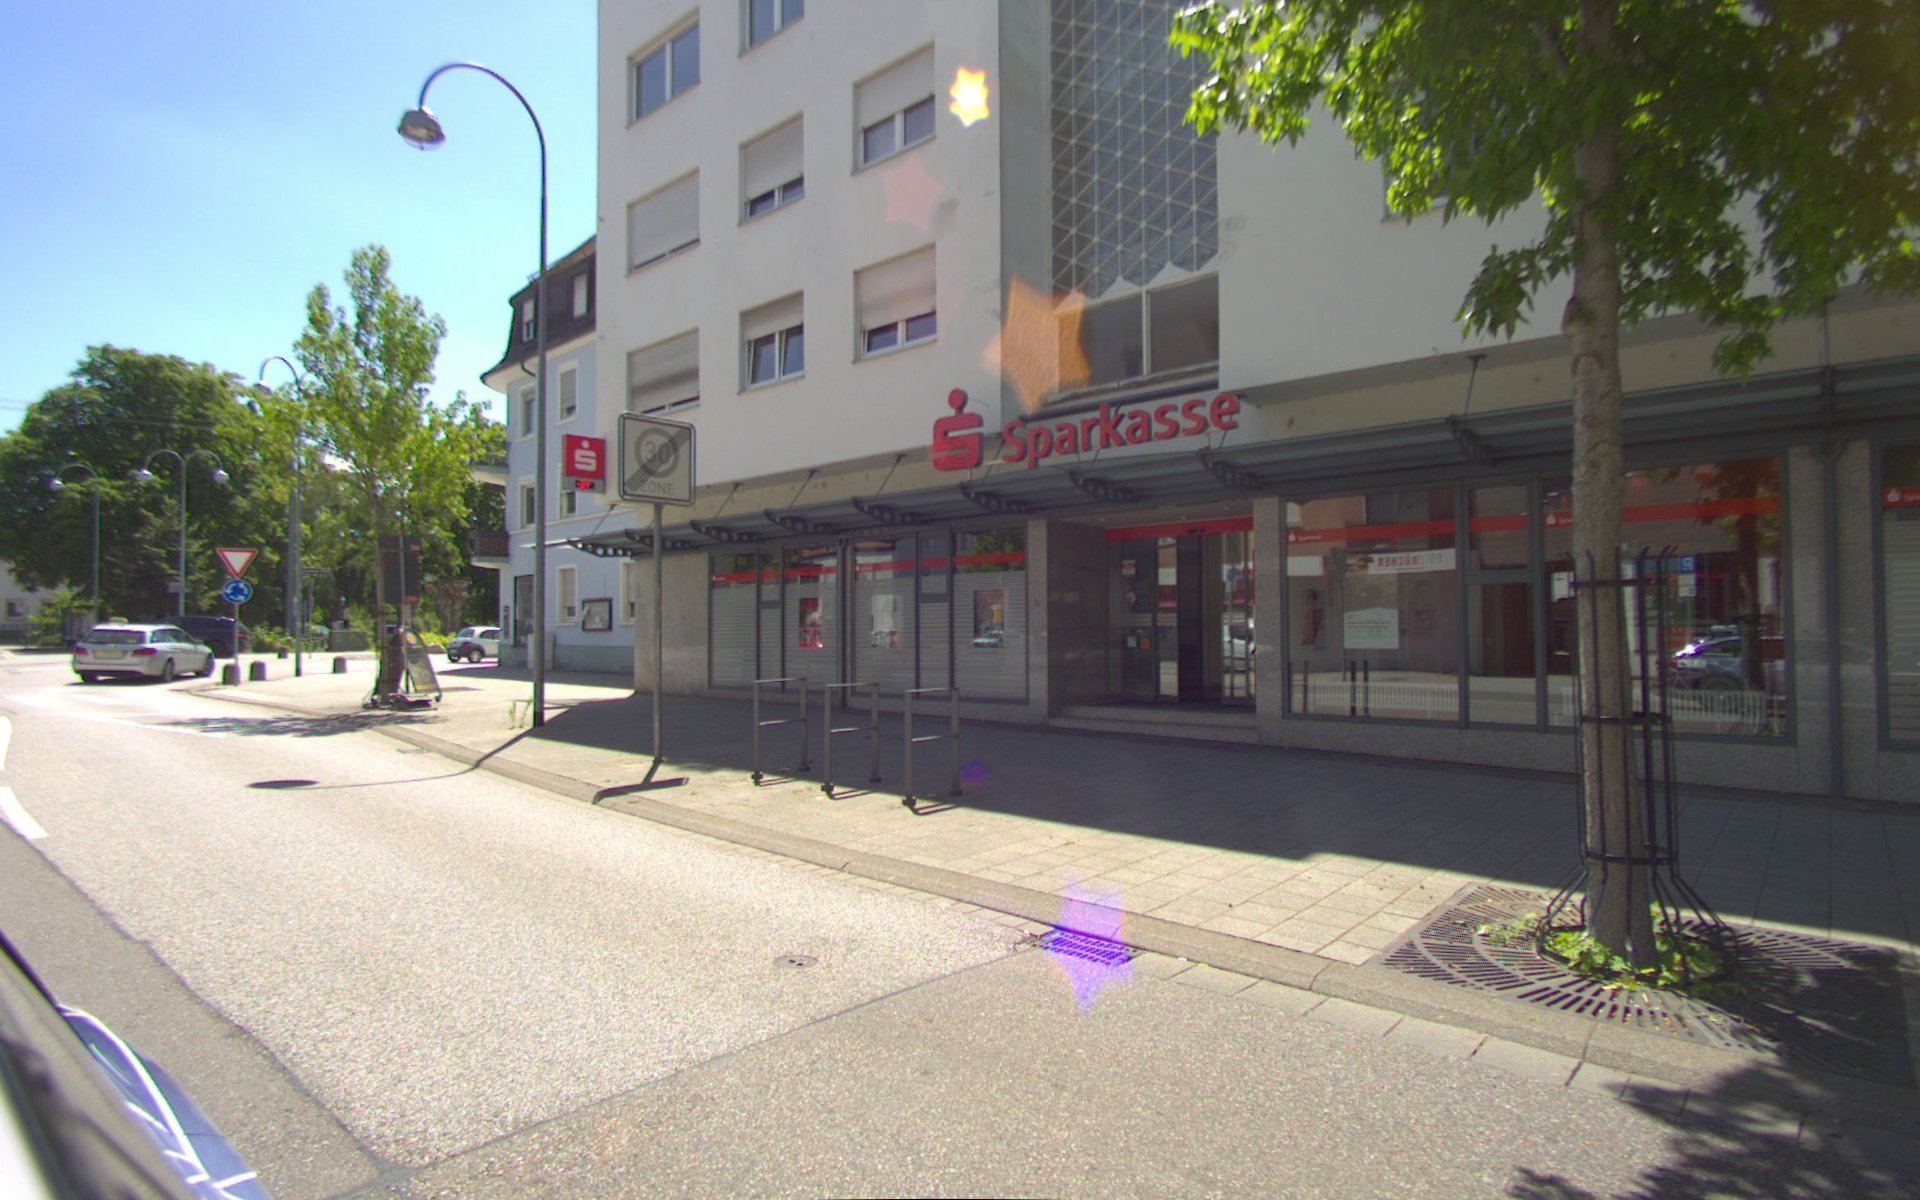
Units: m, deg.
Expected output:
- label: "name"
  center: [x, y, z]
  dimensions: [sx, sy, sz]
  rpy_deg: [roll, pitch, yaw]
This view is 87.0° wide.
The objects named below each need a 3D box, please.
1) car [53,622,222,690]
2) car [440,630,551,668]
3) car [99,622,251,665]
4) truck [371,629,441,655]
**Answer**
- label: "car"
  center: [-21.791, 1.447, 27.081]
  dimensions: [1.965, 1.605, 5.015]
  rpy_deg: [3, -3, -21]
- label: "car"
  center: [-18.782, 1.949, 41.029]
  dimensions: [1.705, 1.469, 3.735]
  rpy_deg: [-1, -2, 43]
- label: "car"
  center: [-31.368, 1.752, 40.628]
  dimensions: [4.539, 1.597, 1.954]
  rpy_deg: [0, -4, -28]
- label: "truck"
  center: [-57.731, 4.387, 105.556]
  dimensions: [6.112, 2.462, 2.271]
  rpy_deg: [-1, -3, -17]
